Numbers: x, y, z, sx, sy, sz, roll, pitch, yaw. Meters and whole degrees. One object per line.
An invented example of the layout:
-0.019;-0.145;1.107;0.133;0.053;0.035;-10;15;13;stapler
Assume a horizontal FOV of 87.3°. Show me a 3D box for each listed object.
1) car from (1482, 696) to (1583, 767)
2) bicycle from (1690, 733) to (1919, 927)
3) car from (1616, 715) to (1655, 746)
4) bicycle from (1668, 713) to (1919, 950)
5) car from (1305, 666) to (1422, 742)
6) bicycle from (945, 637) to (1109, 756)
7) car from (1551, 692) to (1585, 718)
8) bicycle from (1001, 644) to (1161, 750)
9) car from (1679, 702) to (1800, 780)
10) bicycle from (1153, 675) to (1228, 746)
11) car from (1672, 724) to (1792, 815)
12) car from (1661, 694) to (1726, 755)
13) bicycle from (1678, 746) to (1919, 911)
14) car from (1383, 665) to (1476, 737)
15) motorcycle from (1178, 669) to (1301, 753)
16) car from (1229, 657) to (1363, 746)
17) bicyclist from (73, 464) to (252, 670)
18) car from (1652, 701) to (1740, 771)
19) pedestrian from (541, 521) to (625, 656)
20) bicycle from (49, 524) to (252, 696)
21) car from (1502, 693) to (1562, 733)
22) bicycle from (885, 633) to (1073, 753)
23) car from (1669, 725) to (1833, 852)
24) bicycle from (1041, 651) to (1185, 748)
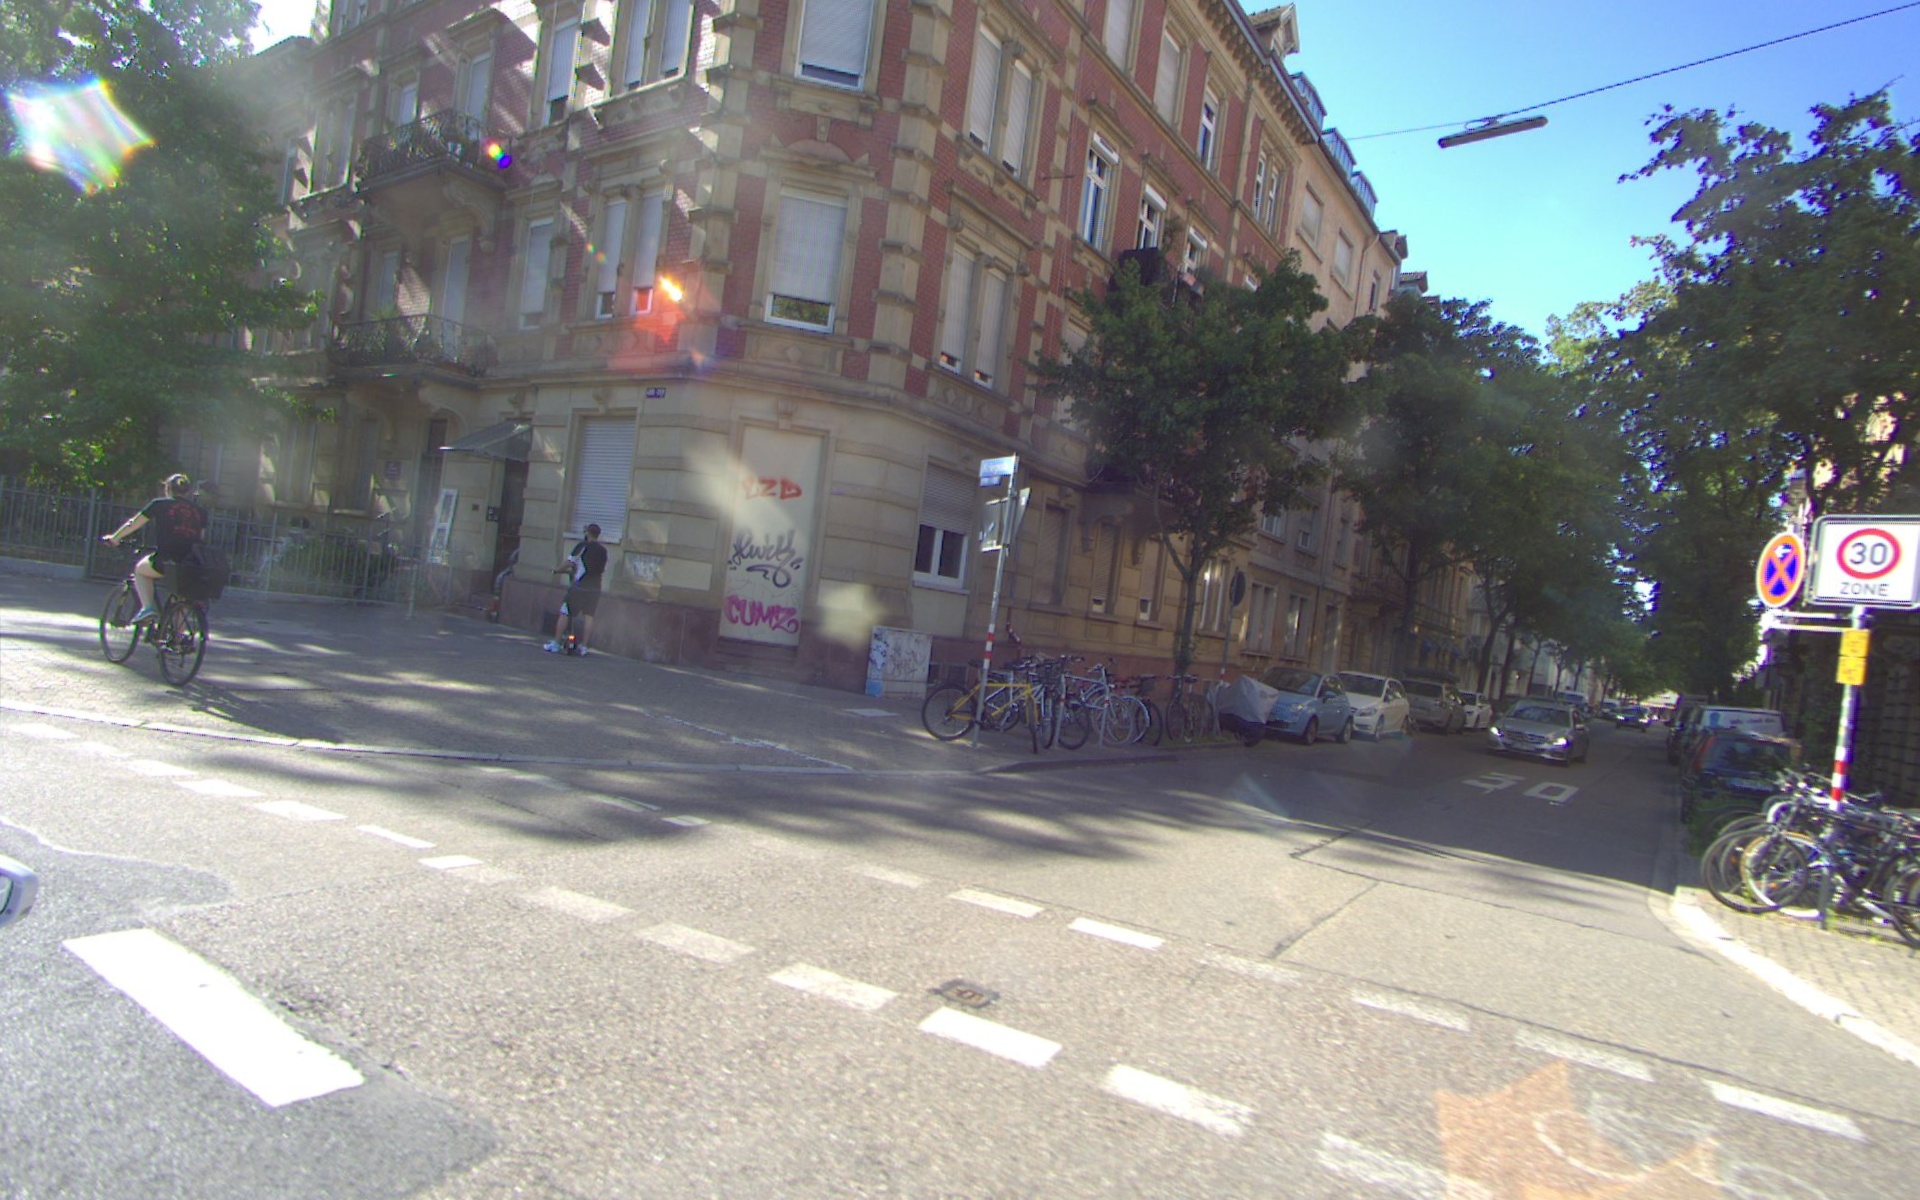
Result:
14.878;3.376;26.033;1.967;1.395;3.994;6;-2;33;car
7.322;1.889;8.223;2.034;1.250;0.579;7;0;33;bicycle
51.047;9.870;76.008;2.069;1.966;4.820;6;-3;37;car
6.569;1.706;7.416;2.034;1.414;0.579;7;0;33;bicycle
10.271;2.658;25.441;1.539;1.528;4.227;10;0;37;car
0.823;1.214;12.863;1.941;1.108;0.579;11;1;37;bicycle
46.160;7.991;76.360;1.734;1.684;3.988;4;-4;38;car
1.673;1.332;14.106;2.001;1.145;0.727;7;0;36;bicycle
19.122;3.436;24.796;2.069;1.450;4.820;6;-3;37;car
3.823;1.800;16.584;0.552;1.002;1.836;12;2;29;bicycle
15.601;3.370;20.408;1.692;1.450;3.397;6;-3;37;car
33.390;5.668;45.760;2.069;2.403;4.820;6;-2;37;car
7.938;2.084;9.247;2.034;1.108;0.579;7;0;33;bicycle
15.256;3.310;32.587;1.733;1.983;3.988;7;-2;38;car
5.209;2.048;18.957;0.985;1.299;2.407;6;-3;-17;motorcycle
7.153;2.165;21.251;1.539;1.486;3.244;10;0;37;car
-6.960;-0.285;8.781;1.082;1.599;0.743;9;0;32;bicyclist
24.547;4.524;33.540;2.069;1.887;4.820;6;-3;37;car
-5.396;-0.157;14.404;0.740;1.836;0.656;4;-2;36;pedestrian
-7.055;0.062;8.740;1.928;1.235;0.741;7;2;32;bicycle
25.833;5.132;45.401;1.734;1.543;3.988;4;-4;38;car
0.211;1.064;11.583;1.940;1.108;0.693;8;0;-13;bicycle
12.012;2.783;15.393;1.692;1.450;3.397;6;-3;37;car
2.296;1.487;15.239;2.001;1.145;0.560;7;0;36;bicycle
